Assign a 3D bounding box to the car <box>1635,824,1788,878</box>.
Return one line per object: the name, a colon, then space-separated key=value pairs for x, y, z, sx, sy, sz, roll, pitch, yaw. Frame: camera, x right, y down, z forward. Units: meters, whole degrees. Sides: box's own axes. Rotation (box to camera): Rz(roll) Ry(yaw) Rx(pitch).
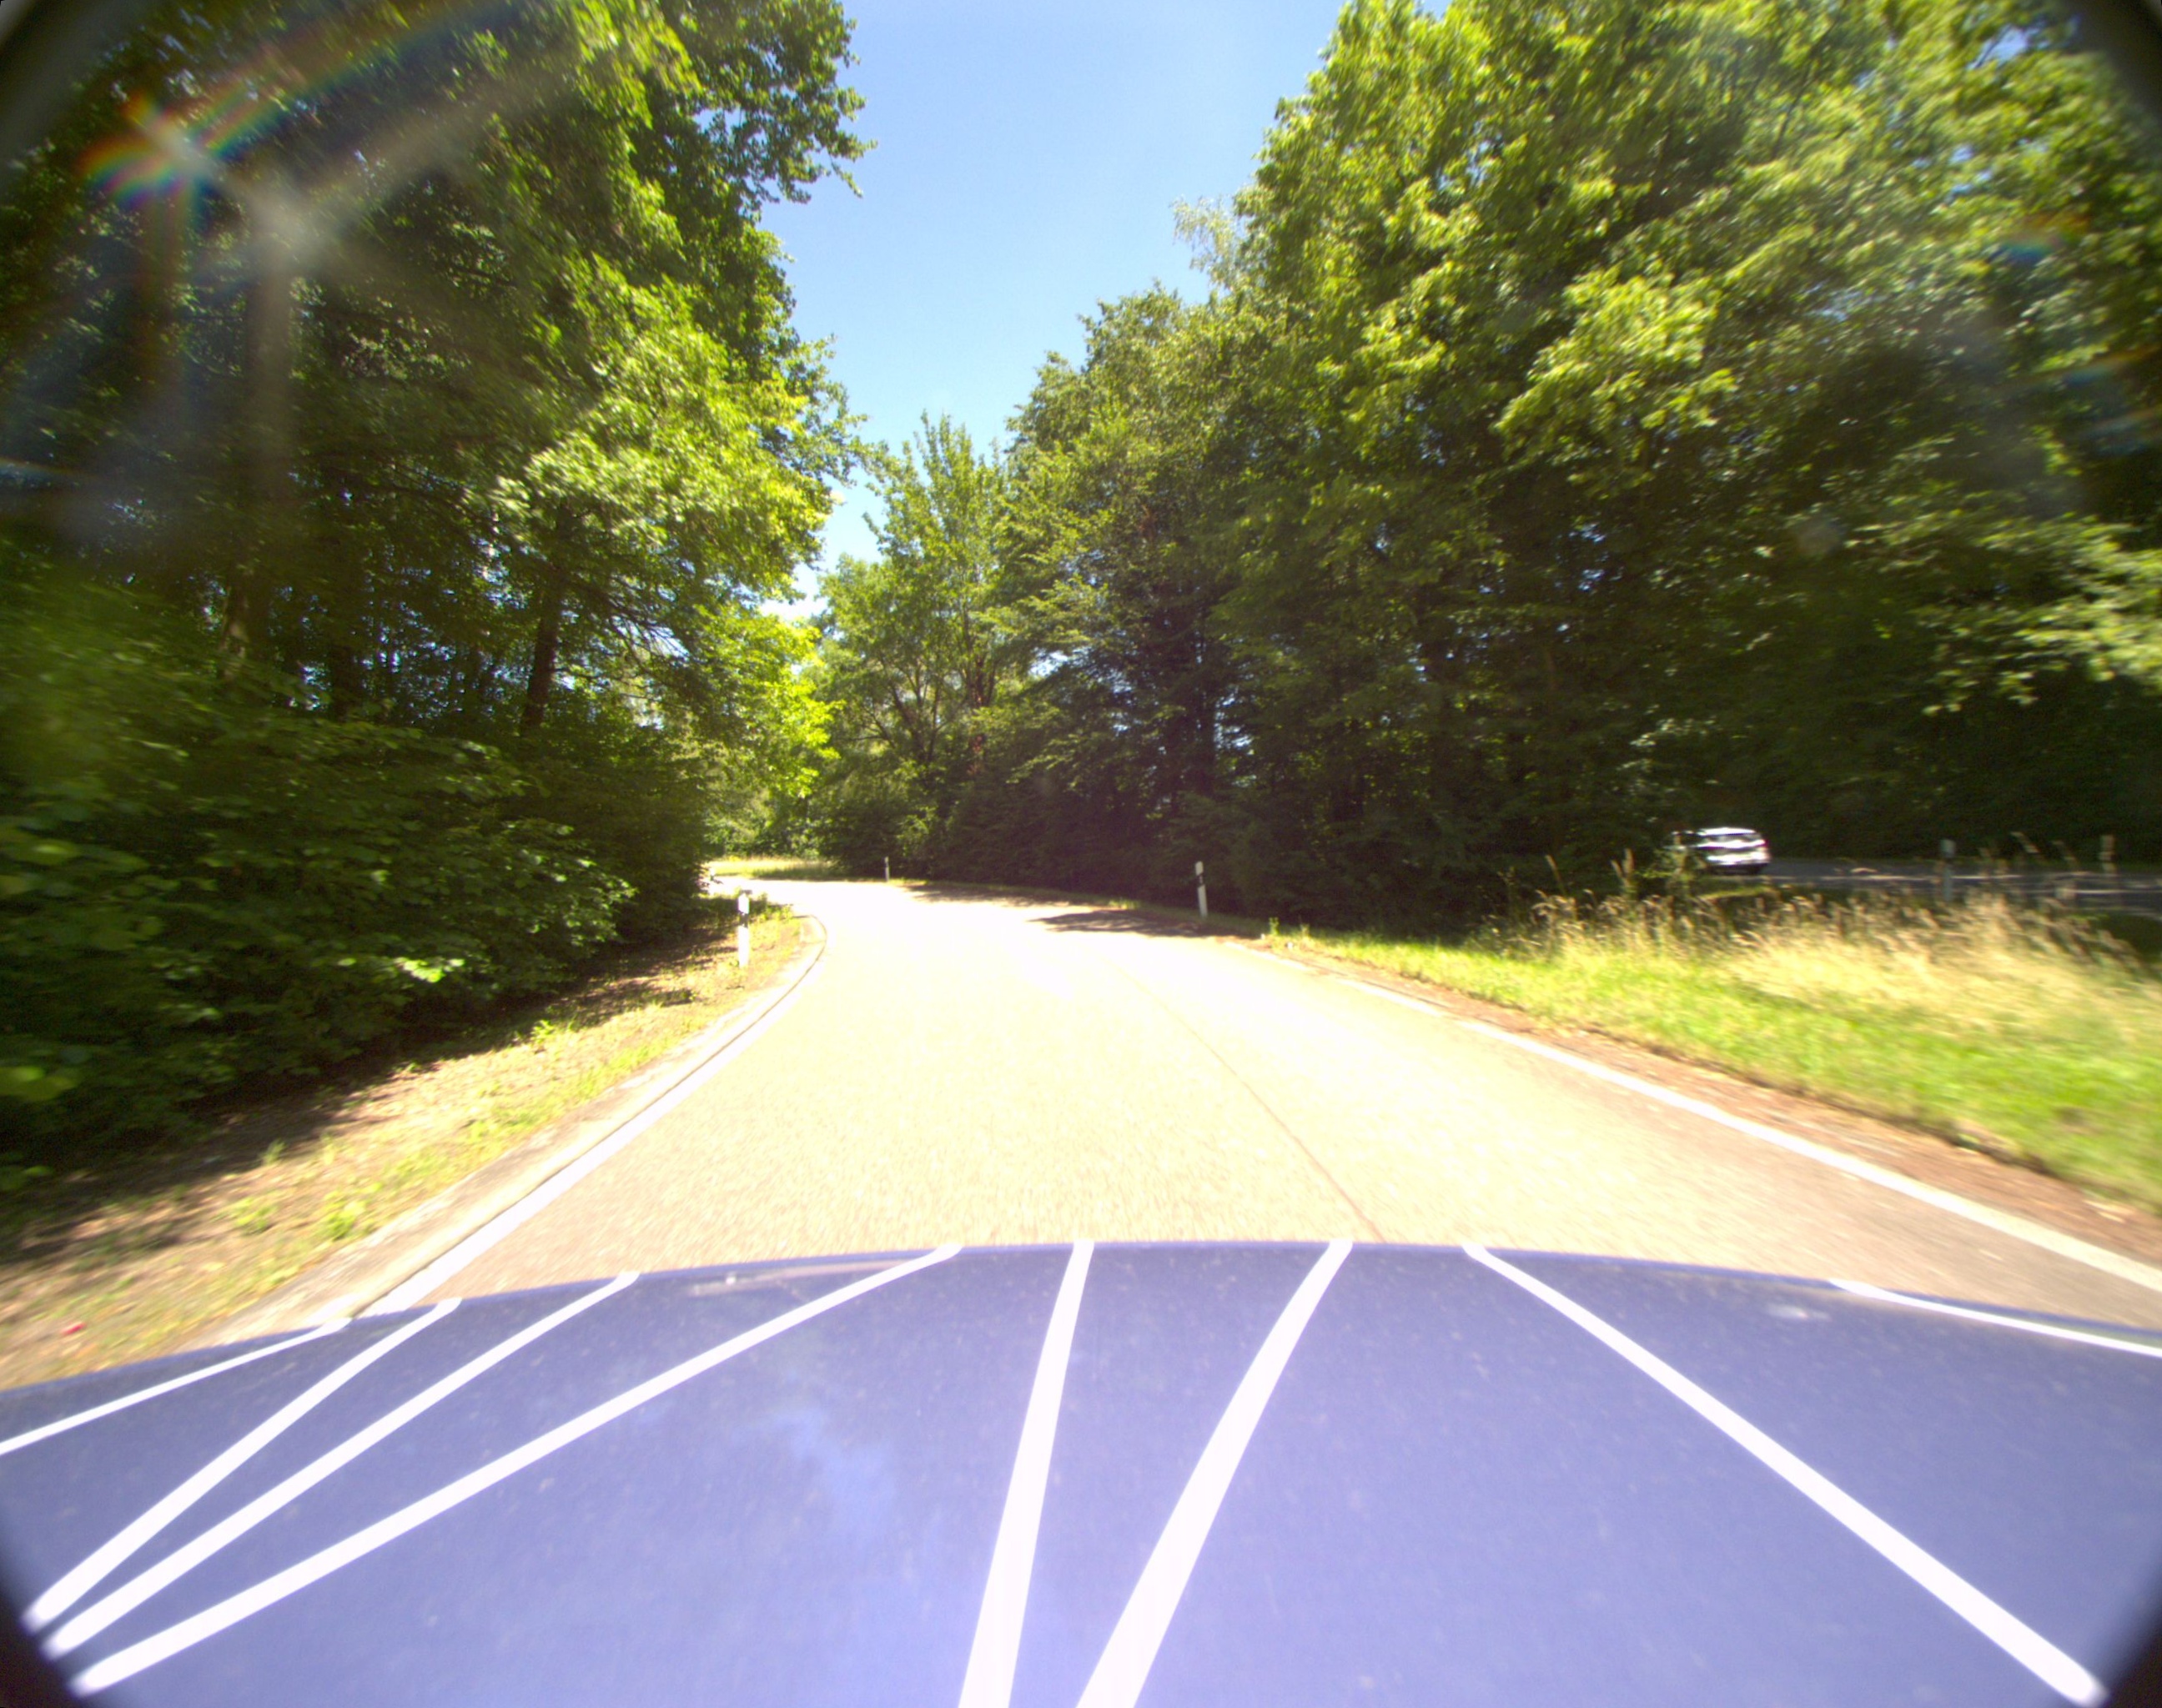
car: x=19.993 y=-0.089 z=24.407 sx=1.758 sy=1.443 sz=4.875 roll=-4 pitch=-1 yaw=13
